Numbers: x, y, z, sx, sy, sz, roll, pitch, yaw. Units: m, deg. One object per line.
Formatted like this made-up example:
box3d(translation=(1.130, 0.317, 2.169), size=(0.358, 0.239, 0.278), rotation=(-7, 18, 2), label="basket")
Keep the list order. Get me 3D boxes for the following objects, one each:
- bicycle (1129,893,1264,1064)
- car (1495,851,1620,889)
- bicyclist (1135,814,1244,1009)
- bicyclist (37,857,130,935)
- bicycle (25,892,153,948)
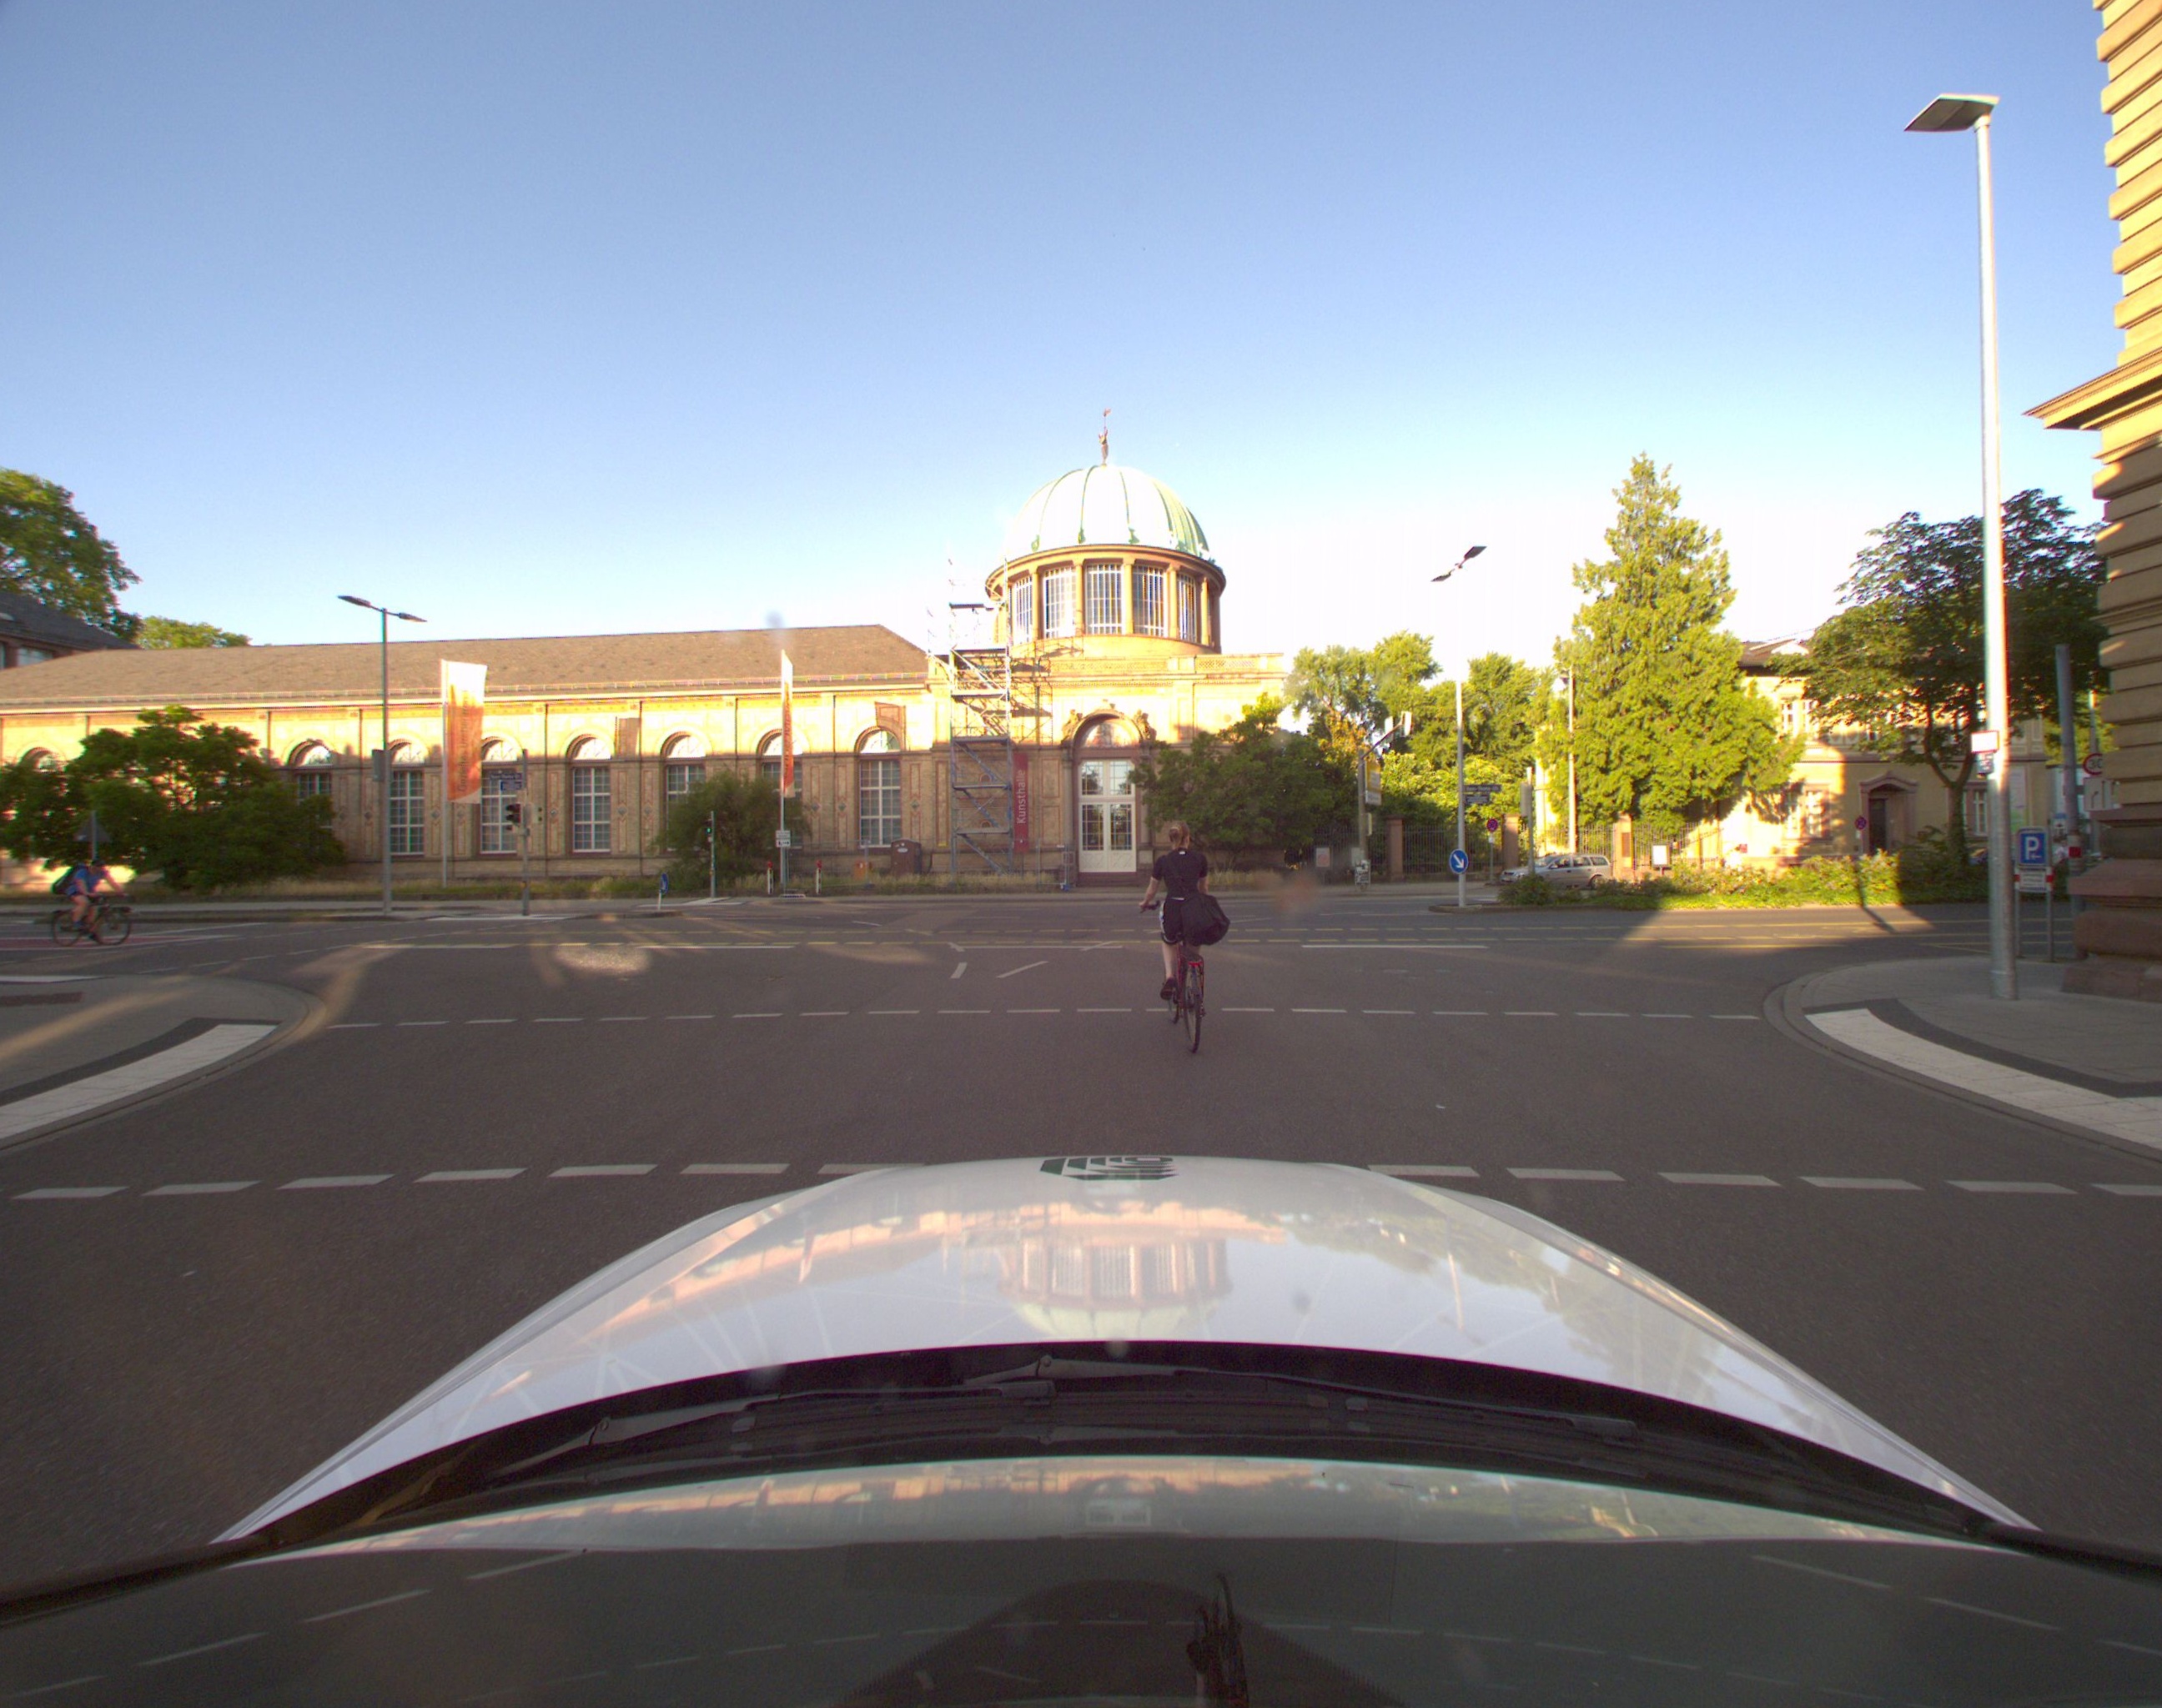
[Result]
box3d(translation=(0.875, 0.925, 6.788), size=(0.710, 1.156, 2.066), rotation=(-1, -2, -3), label="bicycle")
box3d(translation=(19.368, 0.640, 33.191), size=(4.175, 1.445, 1.713), rotation=(-1, 0, -4), label="car")
box3d(translation=(0.868, 0.454, 6.735), size=(0.714, 1.503, 0.849), rotation=(-1, -2, -4), label="bicyclist")
box3d(translation=(-20.386, 0.851, 16.656), size=(1.115, 1.544, 0.715), rotation=(-1, 0, 8), label="bicyclist")
box3d(translation=(-20.256, 1.342, 16.641), size=(1.983, 1.067, 0.725), rotation=(-1, 0, 8), label="bicycle")
